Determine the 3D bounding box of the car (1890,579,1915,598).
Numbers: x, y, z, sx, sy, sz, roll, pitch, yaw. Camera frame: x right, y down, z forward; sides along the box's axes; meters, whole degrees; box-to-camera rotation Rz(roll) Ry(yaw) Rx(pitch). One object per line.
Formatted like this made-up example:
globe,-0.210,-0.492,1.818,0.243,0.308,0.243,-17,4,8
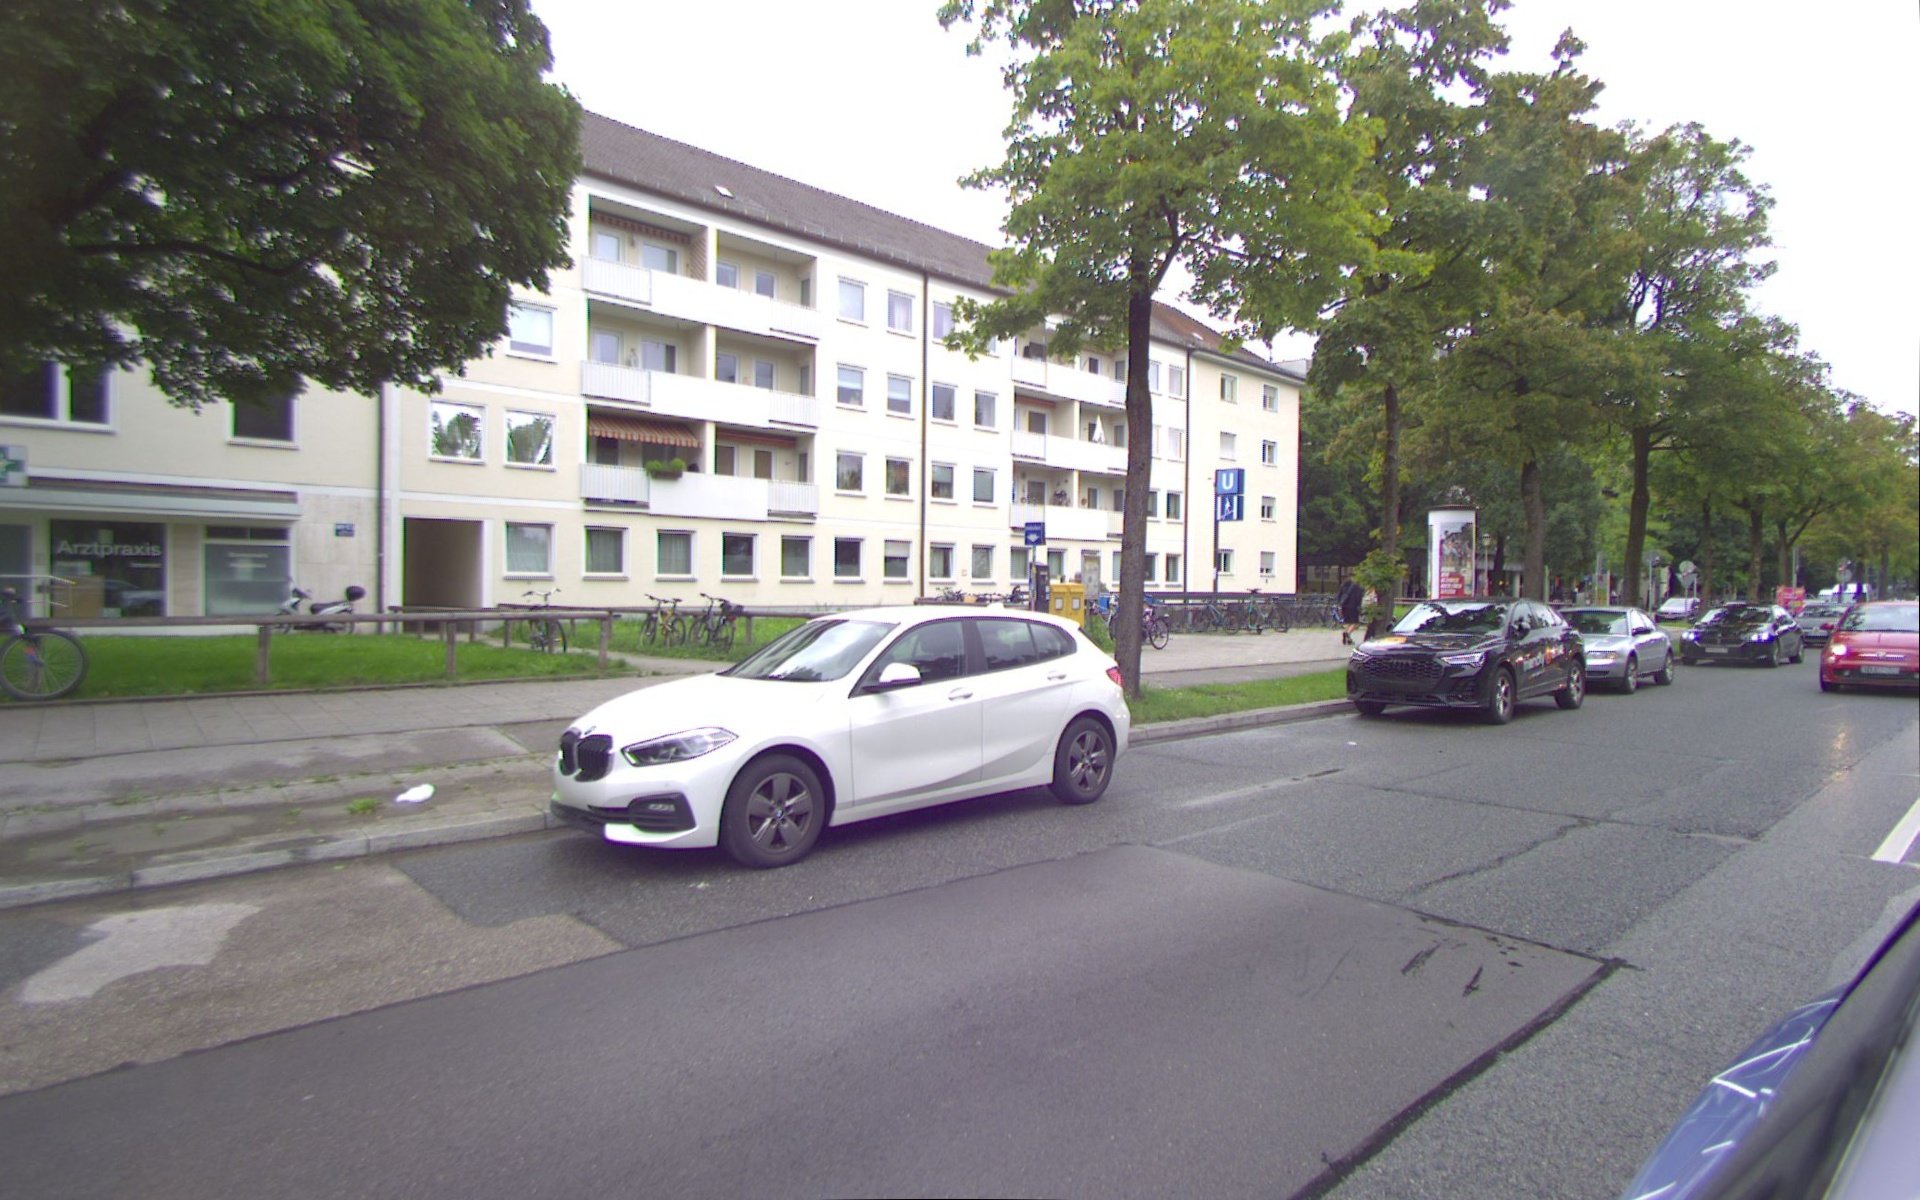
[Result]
car,122.004,-1.483,131.004,4.915,2.485,1.996,0,1,-43

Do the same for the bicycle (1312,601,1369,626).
bicycle,11.891,0.421,31.640,0.491,0.645,1.596,0,4,-45

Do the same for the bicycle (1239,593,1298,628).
bicycle,8.919,0.295,29.295,0.491,0.927,1.595,0,2,-45

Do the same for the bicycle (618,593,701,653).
bicycle,-5.827,0.420,19.551,0.653,1.081,2.027,0,1,-45

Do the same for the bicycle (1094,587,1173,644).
bicycle,3.826,0.325,22.221,2.039,1.203,0.545,0,1,-41

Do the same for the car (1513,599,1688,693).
car,11.032,0.698,17.340,3.860,1.397,1.615,0,1,-43

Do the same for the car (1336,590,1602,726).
car,6.889,0.643,13.519,4.086,1.530,1.824,0,1,-42

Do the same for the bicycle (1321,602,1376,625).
bicycle,12.357,0.417,32.211,0.491,0.704,1.595,0,0,-45

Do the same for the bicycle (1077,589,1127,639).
bicycle,3.287,0.313,23.376,1.231,1.130,0.466,0,0,-41

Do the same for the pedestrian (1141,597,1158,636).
pedestrian,4.627,0.393,24.674,0.333,0.932,0.393,1,0,21

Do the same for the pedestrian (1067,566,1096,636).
pedestrian,2.994,0.022,24.881,0.555,1.694,0.515,1,0,29

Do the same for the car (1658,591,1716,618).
car,42.121,0.236,58.587,4.225,1.487,1.825,0,1,-41

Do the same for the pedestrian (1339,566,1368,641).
pedestrian,9.518,0.069,24.482,0.555,1.778,0.651,1,0,29

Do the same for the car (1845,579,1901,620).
car,57.428,-0.083,63.637,4.913,2.485,1.997,-1,0,-41

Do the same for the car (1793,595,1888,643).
car,29.055,0.571,33.360,4.225,1.487,1.825,0,1,-41

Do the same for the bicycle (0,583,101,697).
bicycle,-9.279,0.381,9.576,1.738,1.068,0.470,-1,0,-42

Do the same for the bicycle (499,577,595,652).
bicycle,-6.412,0.193,15.656,0.653,1.081,2.027,0,1,-45

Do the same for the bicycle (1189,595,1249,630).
bicycle,7.116,0.328,27.852,0.491,0.927,1.595,0,1,-45

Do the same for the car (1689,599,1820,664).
car,18.963,0.684,24.099,4.228,1.397,1.824,0,1,-43

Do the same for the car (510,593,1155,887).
car,-0.675,0.700,7.110,4.213,1.455,1.824,0,-1,-41

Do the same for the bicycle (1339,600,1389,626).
bicycle,12.977,0.404,32.516,0.491,0.722,1.389,0,3,-45

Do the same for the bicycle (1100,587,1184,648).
bicycle,3.783,0.338,20.970,2.039,1.203,0.545,0,1,-41

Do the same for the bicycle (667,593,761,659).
bicycle,-4.342,0.425,17.744,0.653,1.081,2.027,0,1,-45

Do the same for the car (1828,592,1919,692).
car,16.035,0.627,17.028,4.228,1.519,1.720,0,1,-43

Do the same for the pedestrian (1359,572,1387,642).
pedestrian,9.782,0.149,23.954,0.555,1.625,0.515,1,0,29

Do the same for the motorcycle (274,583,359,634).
motorcycle,-14.976,0.181,23.575,1.593,1.134,0.606,0,1,-41
